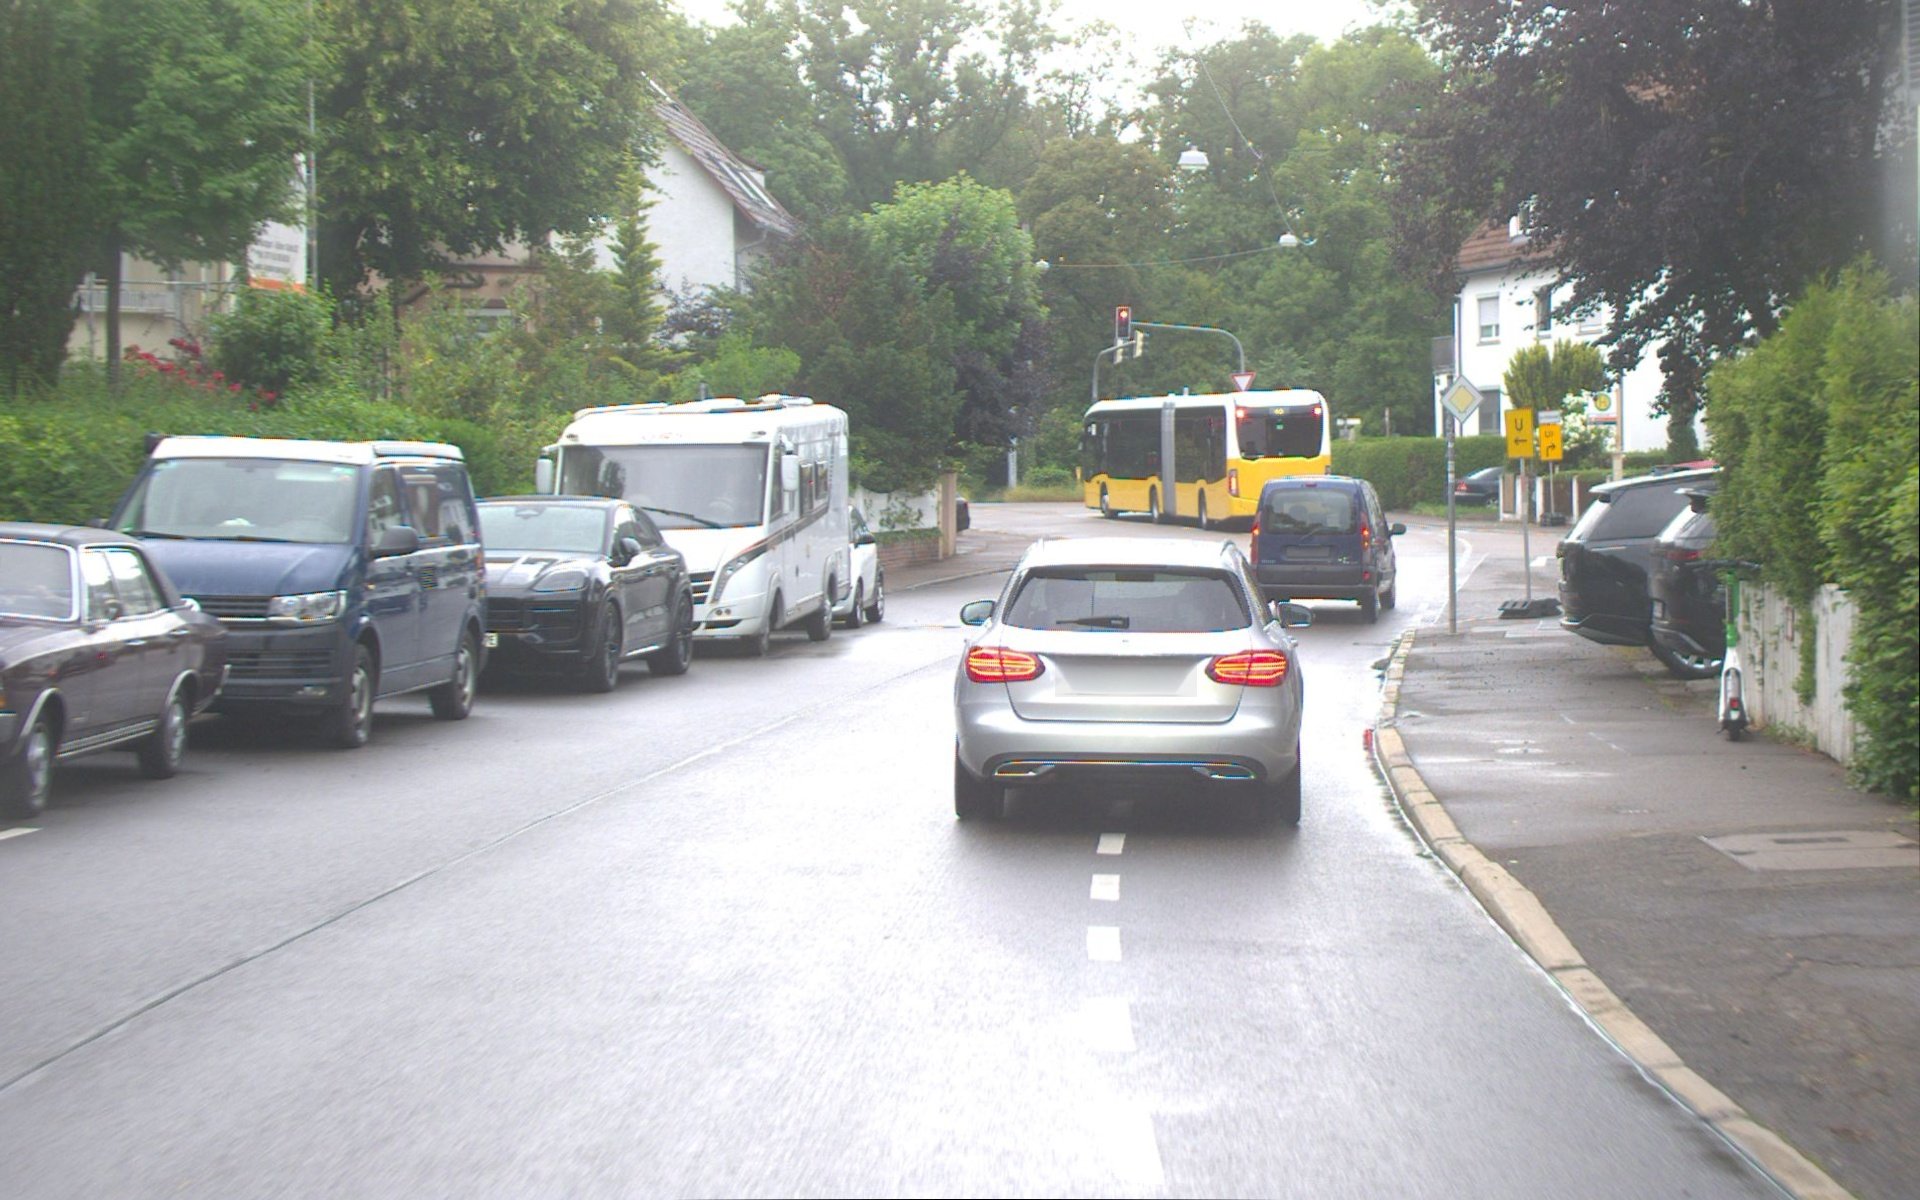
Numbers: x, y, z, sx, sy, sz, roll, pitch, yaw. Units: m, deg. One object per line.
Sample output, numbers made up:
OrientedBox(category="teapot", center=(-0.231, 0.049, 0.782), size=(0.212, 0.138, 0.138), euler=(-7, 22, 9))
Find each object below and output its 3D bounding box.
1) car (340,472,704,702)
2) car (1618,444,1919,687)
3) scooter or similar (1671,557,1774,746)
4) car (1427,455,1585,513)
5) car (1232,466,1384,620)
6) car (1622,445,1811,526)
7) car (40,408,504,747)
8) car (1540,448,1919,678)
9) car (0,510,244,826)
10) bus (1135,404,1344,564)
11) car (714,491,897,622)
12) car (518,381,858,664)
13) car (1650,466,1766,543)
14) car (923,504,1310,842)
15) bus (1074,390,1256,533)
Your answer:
OrientedBox(category="car", center=(-3.713, -0.195, 30.015), size=(1.994, 1.682, 4.676), euler=(1, 4, 8))
OrientedBox(category="car", center=(7.793, -0.353, 27.625), size=(4.663, 1.806, 2.000), euler=(-2, 2, 5))
OrientedBox(category="scooter or similar", center=(5.066, 0.315, 22.907), size=(0.456, 1.196, 1.866), euler=(1, 1, 7))
OrientedBox(category="car", center=(15.383, -3.272, 96.953), size=(3.986, 1.525, 1.760), euler=(0, 4, -10))
OrientedBox(category="car", center=(4.541, -0.753, 44.797), size=(1.843, 1.897, 3.999), euler=(1, 1, 6))
OrientedBox(category="car", center=(17.741, -2.695, 80.746), size=(3.986, 1.787, 1.759), euler=(1, 4, -2))
OrientedBox(category="car", center=(-4.573, -0.197, 23.663), size=(1.829, 2.049, 5.009), euler=(1, 1, 4))
OrientedBox(category="car", center=(7.678, -0.385, 30.824), size=(4.663, 1.868, 2.000), euler=(-2, 2, 5))
OrientedBox(category="car", center=(-5.178, 0.256, 18.307), size=(1.643, 1.412, 4.613), euler=(1, 2, 2))
OrientedBox(category="bus", center=(6.903, -3.031, 86.690), size=(2.928, 3.638, 10.172), euler=(0, 4, -9))
OrientedBox(category="car", center=(-1.899, -0.582, 43.121), size=(1.713, 1.442, 3.254), euler=(1, 4, 8))
OrientedBox(category="car", center=(-2.818, -0.947, 37.523), size=(2.391, 2.762, 6.531), euler=(1, 3, 7))
OrientedBox(category="car", center=(15.366, -1.983, 70.726), size=(1.205, 1.446, 3.023), euler=(0, 4, -11))
OrientedBox(category="car", center=(0.840, 0.291, 18.455), size=(1.816, 1.551, 4.000), euler=(1, 2, 3))
OrientedBox(category="bus", center=(5.559, -3.949, 95.570), size=(2.928, 3.638, 10.306), euler=(0, 4, -8))
